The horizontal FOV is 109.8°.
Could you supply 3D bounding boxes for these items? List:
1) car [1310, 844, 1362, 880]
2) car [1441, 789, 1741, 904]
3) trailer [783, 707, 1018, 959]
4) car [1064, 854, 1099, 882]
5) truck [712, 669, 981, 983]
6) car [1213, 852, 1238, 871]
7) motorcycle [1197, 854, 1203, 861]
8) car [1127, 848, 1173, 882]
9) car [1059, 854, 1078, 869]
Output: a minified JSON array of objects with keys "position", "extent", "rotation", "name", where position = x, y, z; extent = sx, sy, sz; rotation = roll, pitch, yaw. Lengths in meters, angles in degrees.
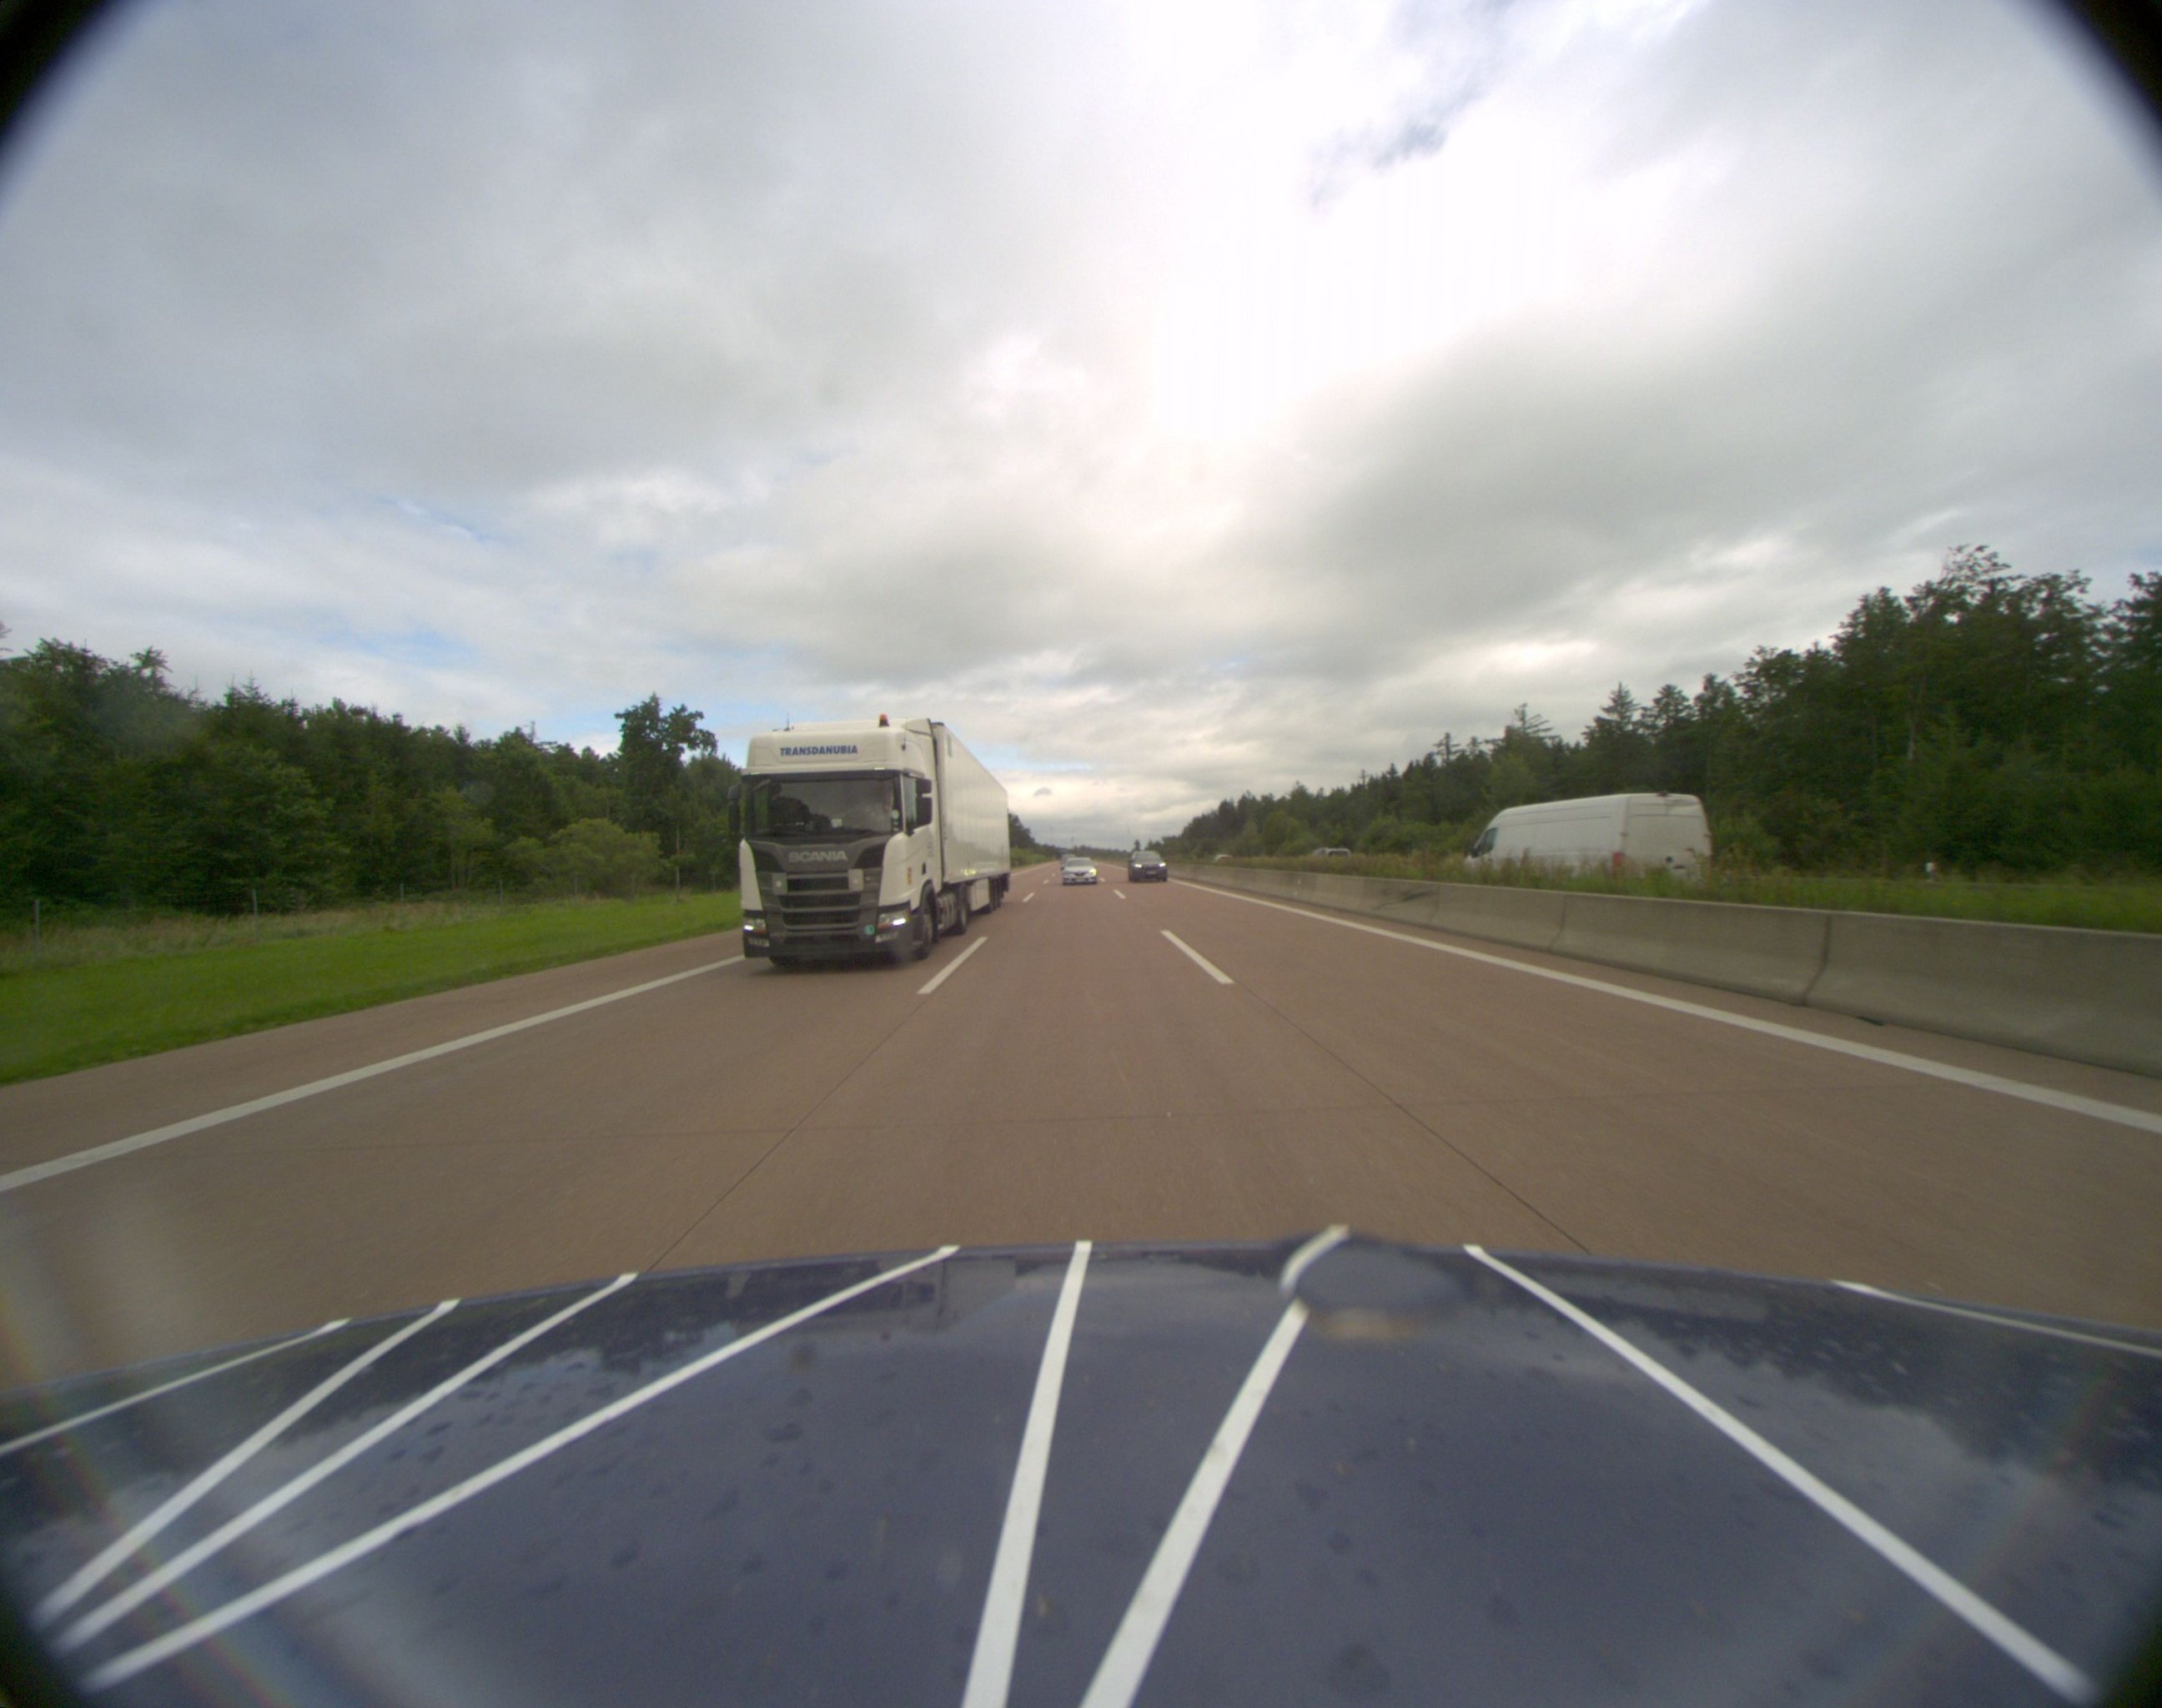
[{"position":[15.254,0.447,45.691],"extent":[1.676,1.969,4.000],"rotation":[-3,0,0],"name":"car"},{"position":[11.683,-0.164,18.478],"extent":[2.078,2.129,7.486],"rotation":[-3,0,-1],"name":"car"},{"position":[-3.688,-0.391,20.023],"extent":[2.929,4.269,13.611],"rotation":[-2,0,-1],"name":"trailer"},{"position":[0.086,0.801,45.116],"extent":[1.923,1.515,4.000],"rotation":[-2,0,2],"name":"car"},{"position":[-3.603,-0.396,13.246],"extent":[2.929,4.269,5.334],"rotation":[-2,0,-1],"name":"truck"},{"position":[14.972,0.755,79.029],"extent":[1.788,1.762,3.752],"rotation":[-3,0,0],"name":"car"},{"position":[20.041,0.608,128.063],"extent":[0.602,1.149,2.154],"rotation":[-3,0,-1],"name":"motorcycle"},{"position":[3.755,0.566,42.217],"extent":[1.999,1.689,5.252],"rotation":[-2,0,0],"name":"car"},{"position":[-1.410,0.846,87.189],"extent":[1.986,1.499,4.052],"rotation":[-2,0,0],"name":"car"}]
